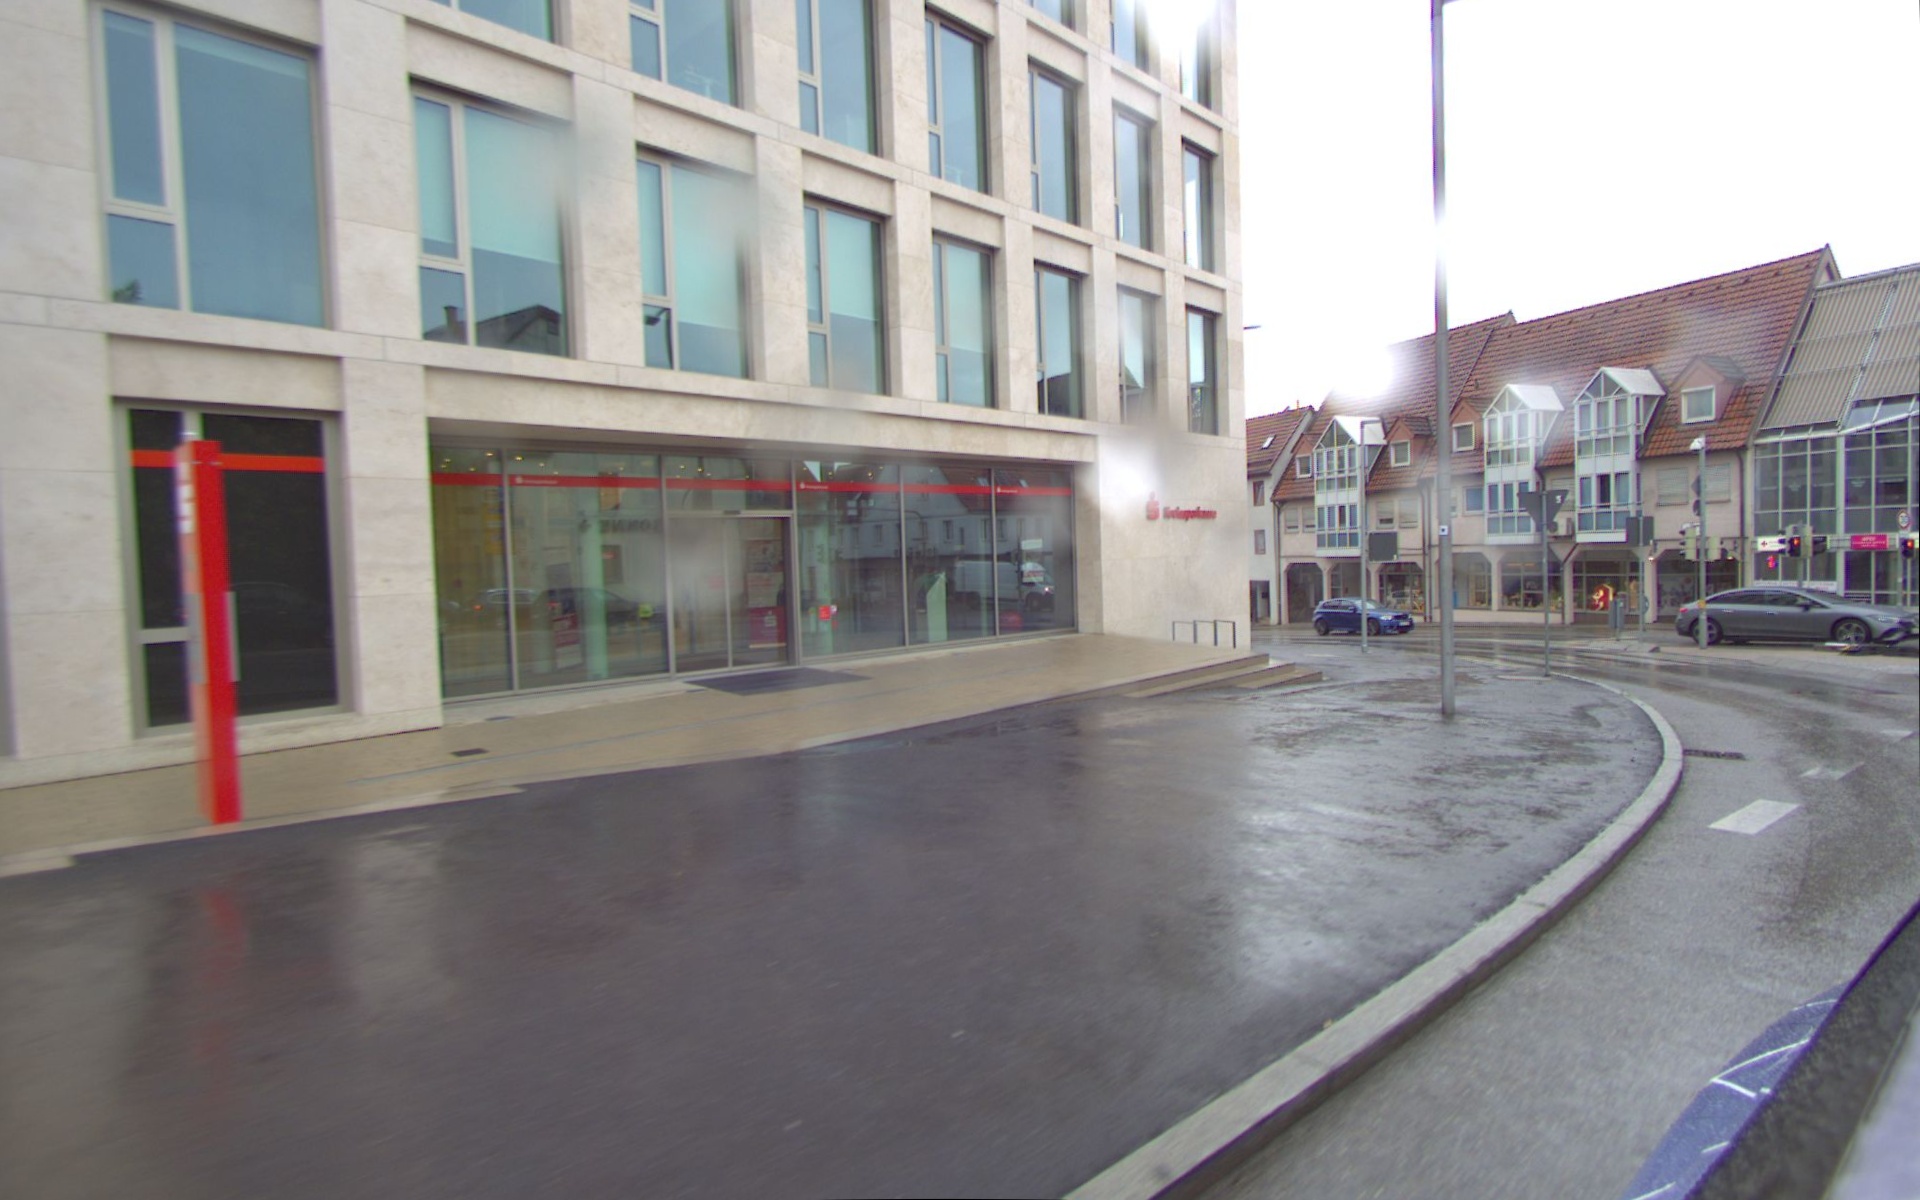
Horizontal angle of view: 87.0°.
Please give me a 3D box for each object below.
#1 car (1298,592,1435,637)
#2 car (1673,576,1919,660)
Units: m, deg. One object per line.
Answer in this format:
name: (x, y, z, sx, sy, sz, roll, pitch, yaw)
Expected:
car: (15.614, 0.494, 39.230, 1.958, 1.565, 5.043, 0, 1, -23)
car: (21.136, 0.352, 25.374, 1.959, 1.868, 5.042, 0, 1, -25)
